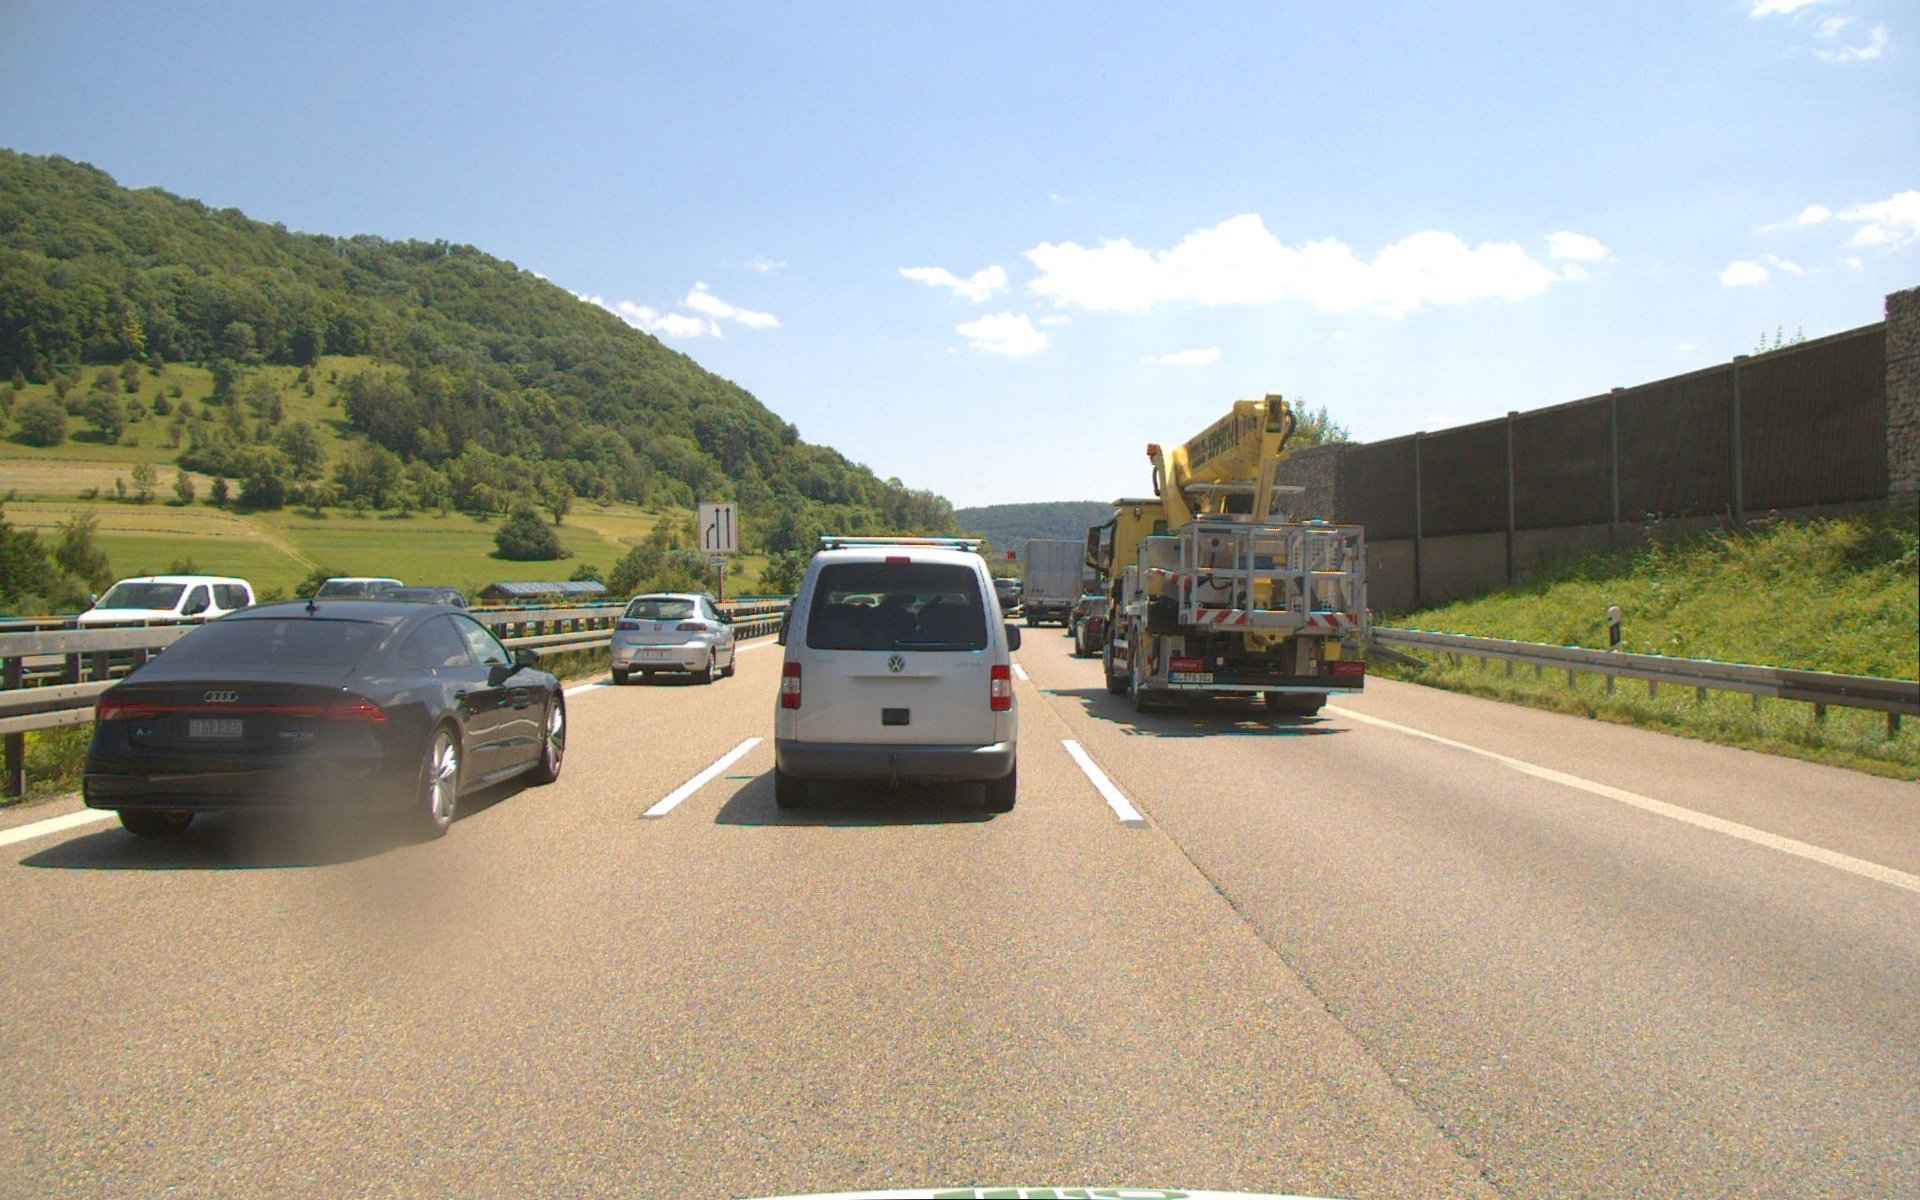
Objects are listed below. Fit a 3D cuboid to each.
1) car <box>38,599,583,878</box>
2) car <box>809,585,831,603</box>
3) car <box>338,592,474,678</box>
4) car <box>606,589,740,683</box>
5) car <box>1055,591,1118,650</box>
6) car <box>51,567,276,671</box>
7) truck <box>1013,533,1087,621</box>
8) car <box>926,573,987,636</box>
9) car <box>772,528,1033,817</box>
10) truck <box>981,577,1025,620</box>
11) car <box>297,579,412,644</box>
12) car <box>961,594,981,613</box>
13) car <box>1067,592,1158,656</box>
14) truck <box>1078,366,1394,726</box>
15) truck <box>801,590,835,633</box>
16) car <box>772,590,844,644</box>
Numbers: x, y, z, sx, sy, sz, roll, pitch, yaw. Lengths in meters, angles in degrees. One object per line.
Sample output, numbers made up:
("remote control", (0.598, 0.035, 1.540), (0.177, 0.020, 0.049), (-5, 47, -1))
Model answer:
("car", (-3.916, 0.712, 11.023), (1.764, 1.415, 4.968), (0, 0, -1))
("car", (-12.948, -0.525, 153.651), (1.812, 1.638, 4.077), (0, 0, -2))
("car", (-12.102, 0.722, 36.397), (1.720, 1.792, 3.934), (0, 0, -1))
("car", (-4.746, 0.559, 27.780), (1.661, 1.470, 3.861), (0, 0, -2))
("car", (4.523, 0.692, 59.615), (1.953, 2.049, 4.000), (0, 0, -1))
("car", (-15.425, 0.340, 32.406), (1.953, 1.871, 5.226), (0, 0, -1))
("truck", (4.167, -1.029, 78.202), (2.880, 3.890, 8.235), (1, 0, -1))
("car", (-0.148, 0.137, 55.632), (1.953, 2.010, 3.999), (0, 0, -2))
("car", (-0.439, 0.467, 12.891), (1.721, 1.900, 3.999), (0, 0, -2))
("truck", (2.701, -0.131, 102.427), (2.339, 2.585, 5.943), (0, 0, 5))
("car", (-19.264, 0.349, 52.836), (2.018, 1.975, 4.660), (0, 0, -1))
("car", (1.089, 0.392, 167.582), (1.953, 1.837, 3.999), (1, 0, -1))
("car", (3.685, 0.546, 40.513), (1.750, 1.484, 3.769), (0, 0, -2))
("truck", (3.405, -0.619, 22.837), (2.649, 4.011, 8.718), (0, 0, -2))
("truck", (-14.803, 1.166, 172.553), (2.740, 4.306, 7.232), (1, 0, 1))
("car", (-4.496, 0.485, 49.314), (1.886, 1.525, 3.999), (1, 0, -2))
